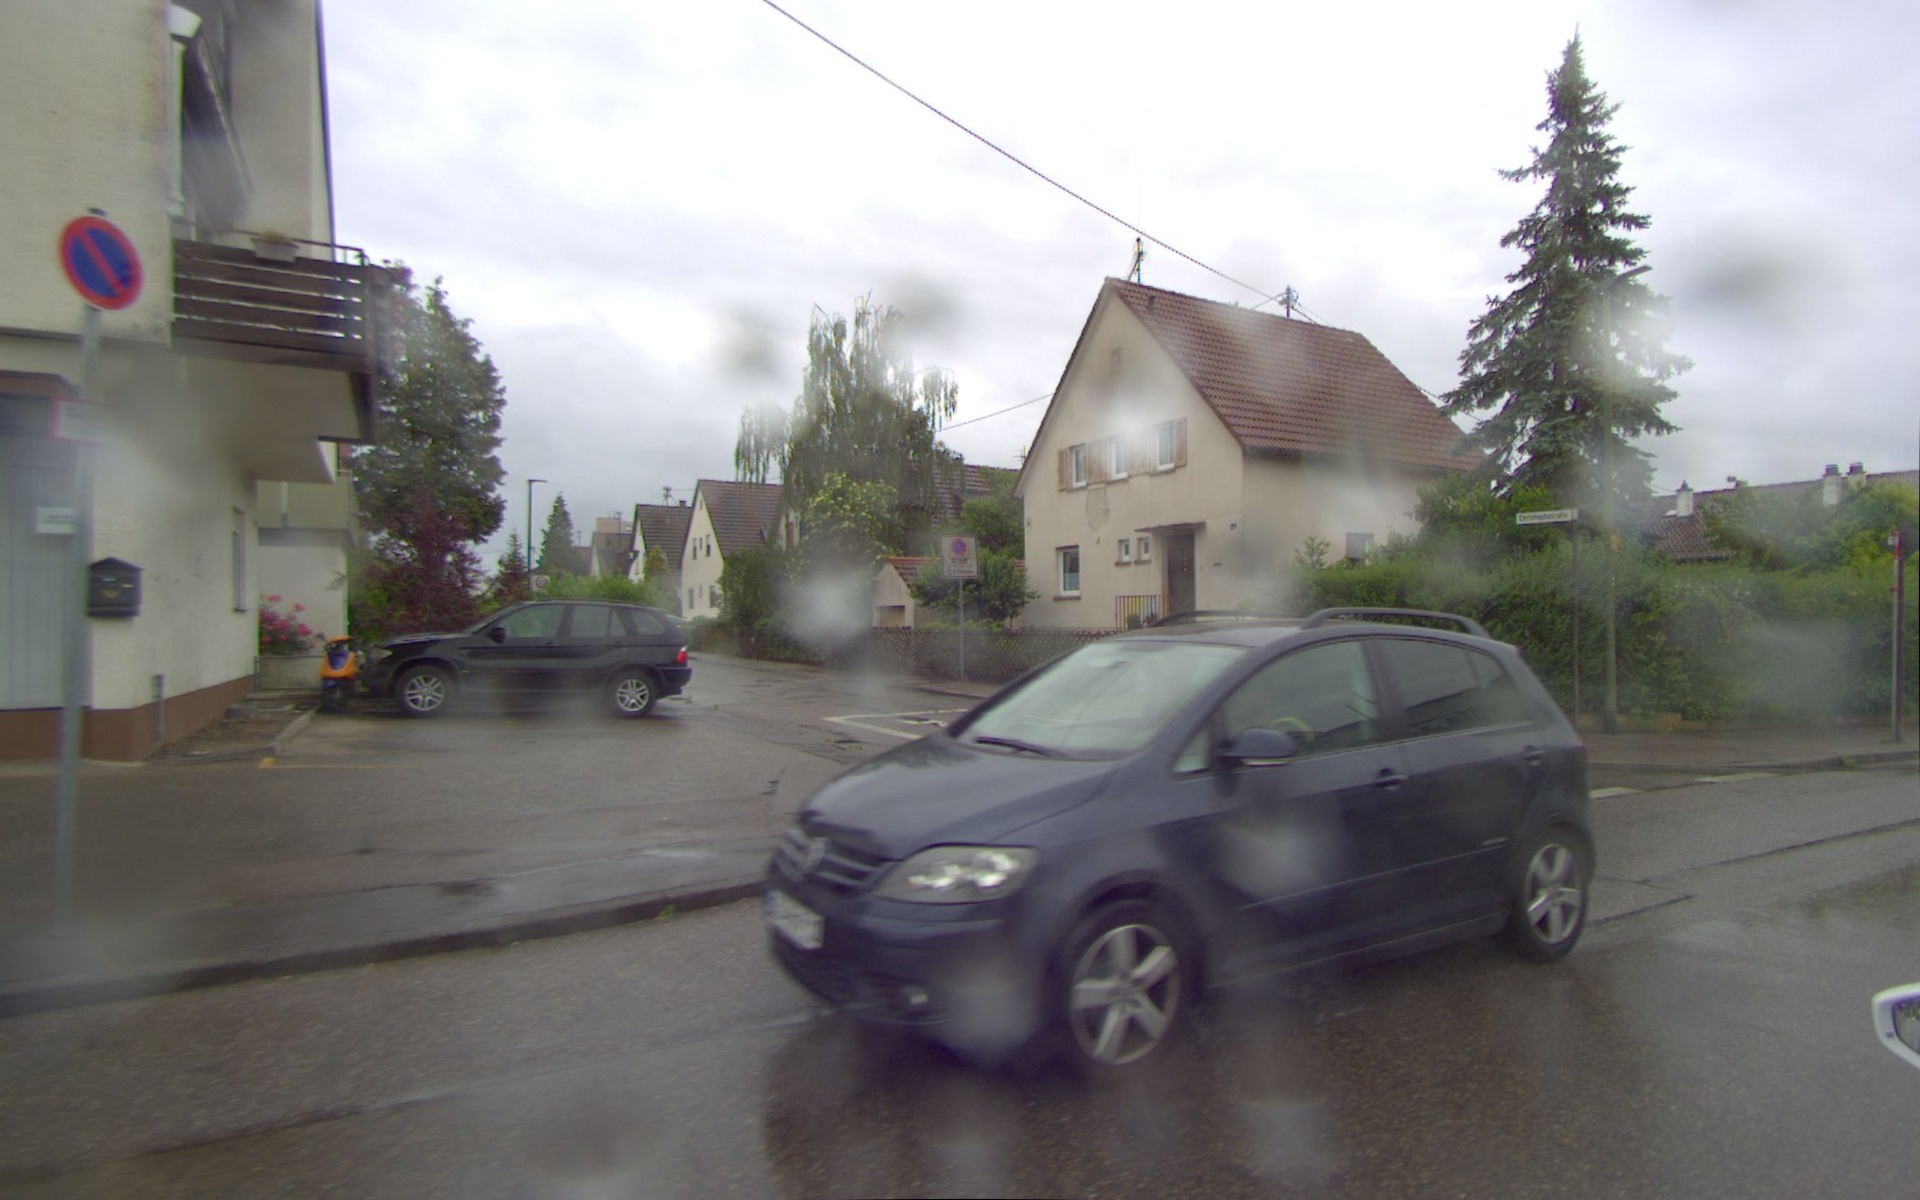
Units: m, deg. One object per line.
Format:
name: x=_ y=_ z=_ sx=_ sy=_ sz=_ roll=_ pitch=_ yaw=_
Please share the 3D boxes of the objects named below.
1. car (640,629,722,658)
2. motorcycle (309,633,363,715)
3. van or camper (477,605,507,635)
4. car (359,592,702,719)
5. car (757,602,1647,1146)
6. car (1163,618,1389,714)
car: x=-15.207 y=2.359 z=54.748 sx=3.950 sy=1.461 sz=1.986 roll=1 pitch=-1 yaw=-28
motorcycle: x=-8.985 y=1.051 z=14.506 sx=0.607 sy=1.096 sz=1.826 roll=1 pitch=-3 yaw=-30
van or camper: x=-46.025 y=1.910 z=98.652 sx=2.237 sy=2.834 sz=6.423 roll=1 pitch=-1 yaw=-29
car: x=-6.427 y=0.883 z=15.236 sx=4.493 sy=1.680 sz=1.850 roll=4 pitch=-3 yaw=-31
car: x=1.241 y=0.837 z=4.616 sx=3.954 sy=1.548 sz=1.668 roll=1 pitch=-2 yaw=-31
car: x=5.880 y=1.146 z=18.591 sx=3.952 sy=1.528 sz=1.786 roll=-1 pitch=-1 yaw=-30
